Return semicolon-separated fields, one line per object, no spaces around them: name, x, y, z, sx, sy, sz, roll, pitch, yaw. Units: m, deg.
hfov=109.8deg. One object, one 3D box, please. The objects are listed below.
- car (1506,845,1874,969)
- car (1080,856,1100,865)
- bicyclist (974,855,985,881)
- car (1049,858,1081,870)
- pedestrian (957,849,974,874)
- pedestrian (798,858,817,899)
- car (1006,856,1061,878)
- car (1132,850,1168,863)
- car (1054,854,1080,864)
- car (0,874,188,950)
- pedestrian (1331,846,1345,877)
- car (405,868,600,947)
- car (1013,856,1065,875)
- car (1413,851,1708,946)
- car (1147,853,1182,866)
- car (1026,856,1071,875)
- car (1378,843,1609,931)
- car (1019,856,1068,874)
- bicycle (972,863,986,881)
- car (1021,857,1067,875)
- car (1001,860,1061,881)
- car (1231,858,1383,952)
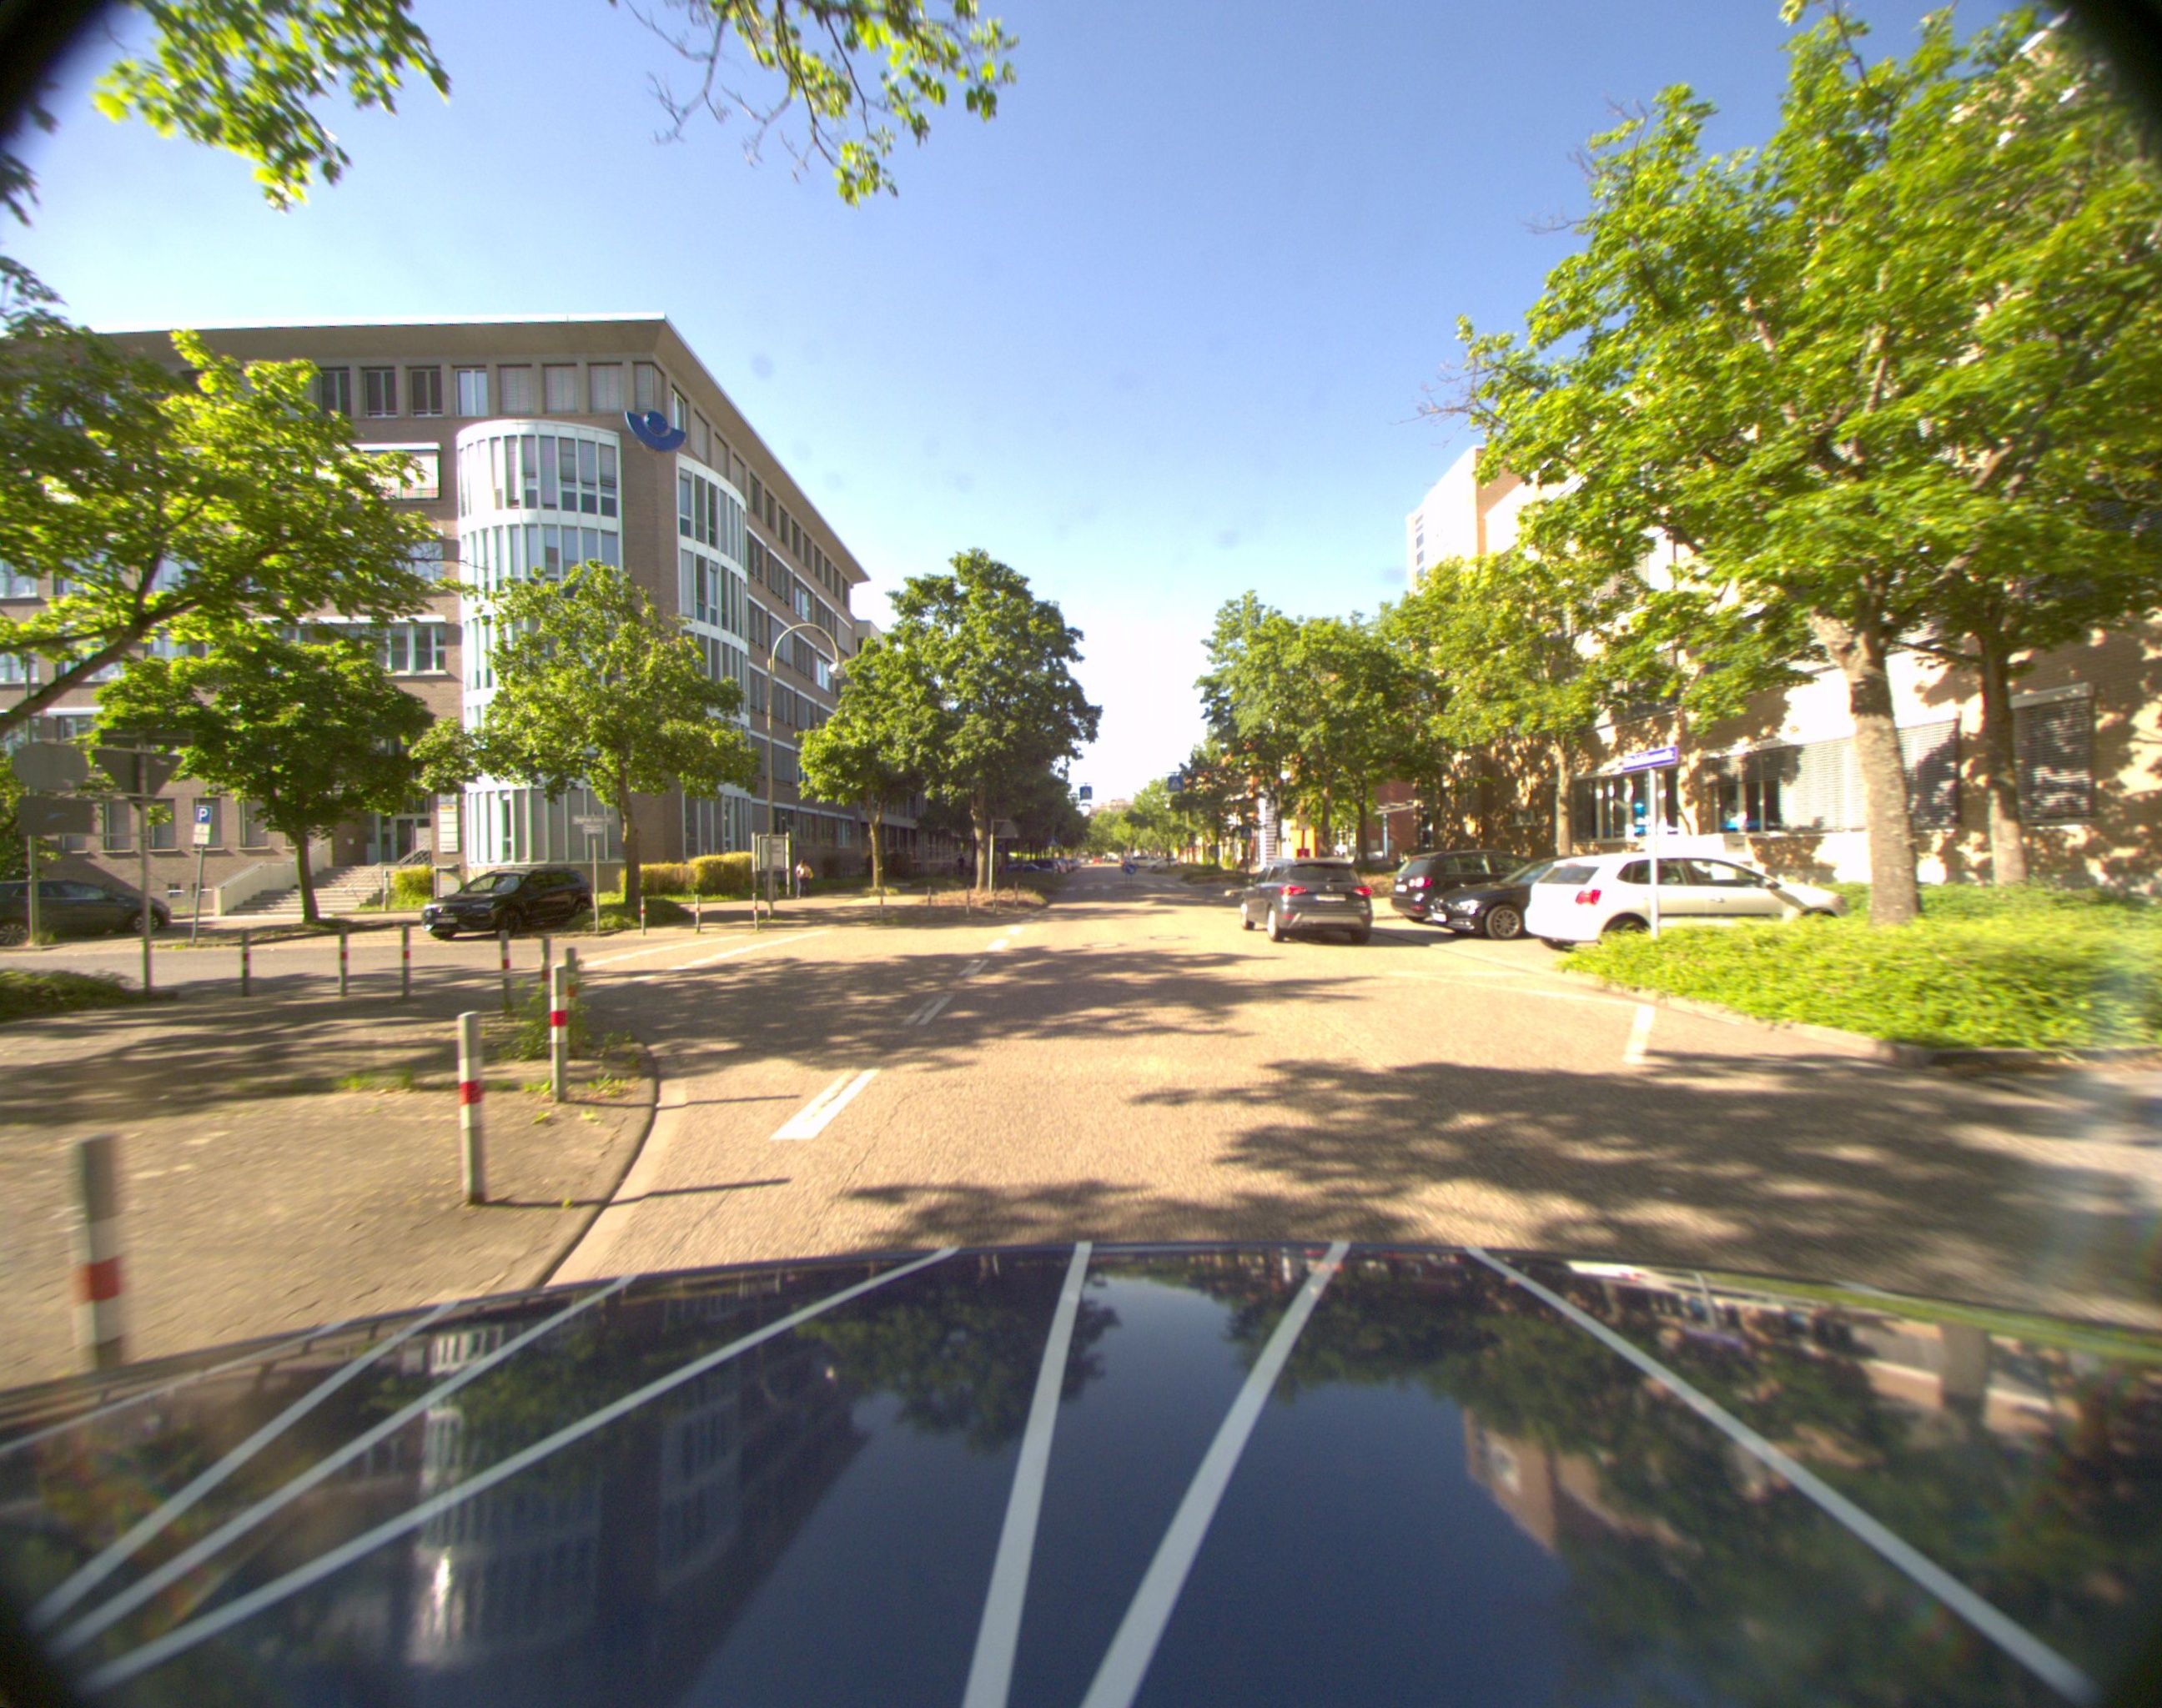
car;8.477;0.700;10.860;3.763;1.444;1.754;-3;0;2
car;1.687;1.199;139.591;3.554;1.544;1.743;1;-2;-2
bicyclist;-6.256;0.865;46.965;0.538;1.627;0.822;-1;0;2
car;-1.941;1.178;93.316;3.916;1.374;1.587;1;1;-3
pedestrian;-8.616;0.577;56.656;1.037;1.788;1.018;-3;1;0
pedestrian;-10.670;0.958;29.639;0.539;1.573;0.648;-1;0;-9
car;-3.608;0.972;57.726;4.136;1.581;1.659;1;2;-3
car;10.273;0.373;113.677;5.317;1.875;2.000;0;0;2
car;-2.122;0.806;115.963;3.998;1.470;1.804;0;0;-2
car;-27.086;1.493;20.179;1.702;1.576;4.000;-2;3;7
pedestrian;16.980;0.479;50.219;0.623;1.911;0.671;-2;13;2
car;-14.723;1.263;19.717;1.742;1.557;4.364;-2;2;-2
car;-3.440;0.946;61.960;4.136;1.452;1.660;1;0;-3
car;8.550;0.764;13.825;4.162;1.394;1.801;-3;0;0
car;10.029;0.624;91.263;4.003;1.411;1.618;-2;0;0
car;-3.063;1.050;71.384;4.136;1.657;1.907;-1;0;-3
car;8.804;0.685;16.474;3.997;1.561;1.728;-3;0;0
car;-3.206;0.941;64.954;4.136;1.508;1.836;0;0;-3
bicycle;-6.259;1.108;46.830;0.535;1.072;1.920;-1;0;2
car;-3.291;1.080;68.318;3.996;1.575;1.714;0;0;2
car;-3.456;1.127;53.143;4.126;1.362;1.654;1;0;-3
car;4.139;0.861;14.593;1.784;1.502;4.000;-1;0;1
